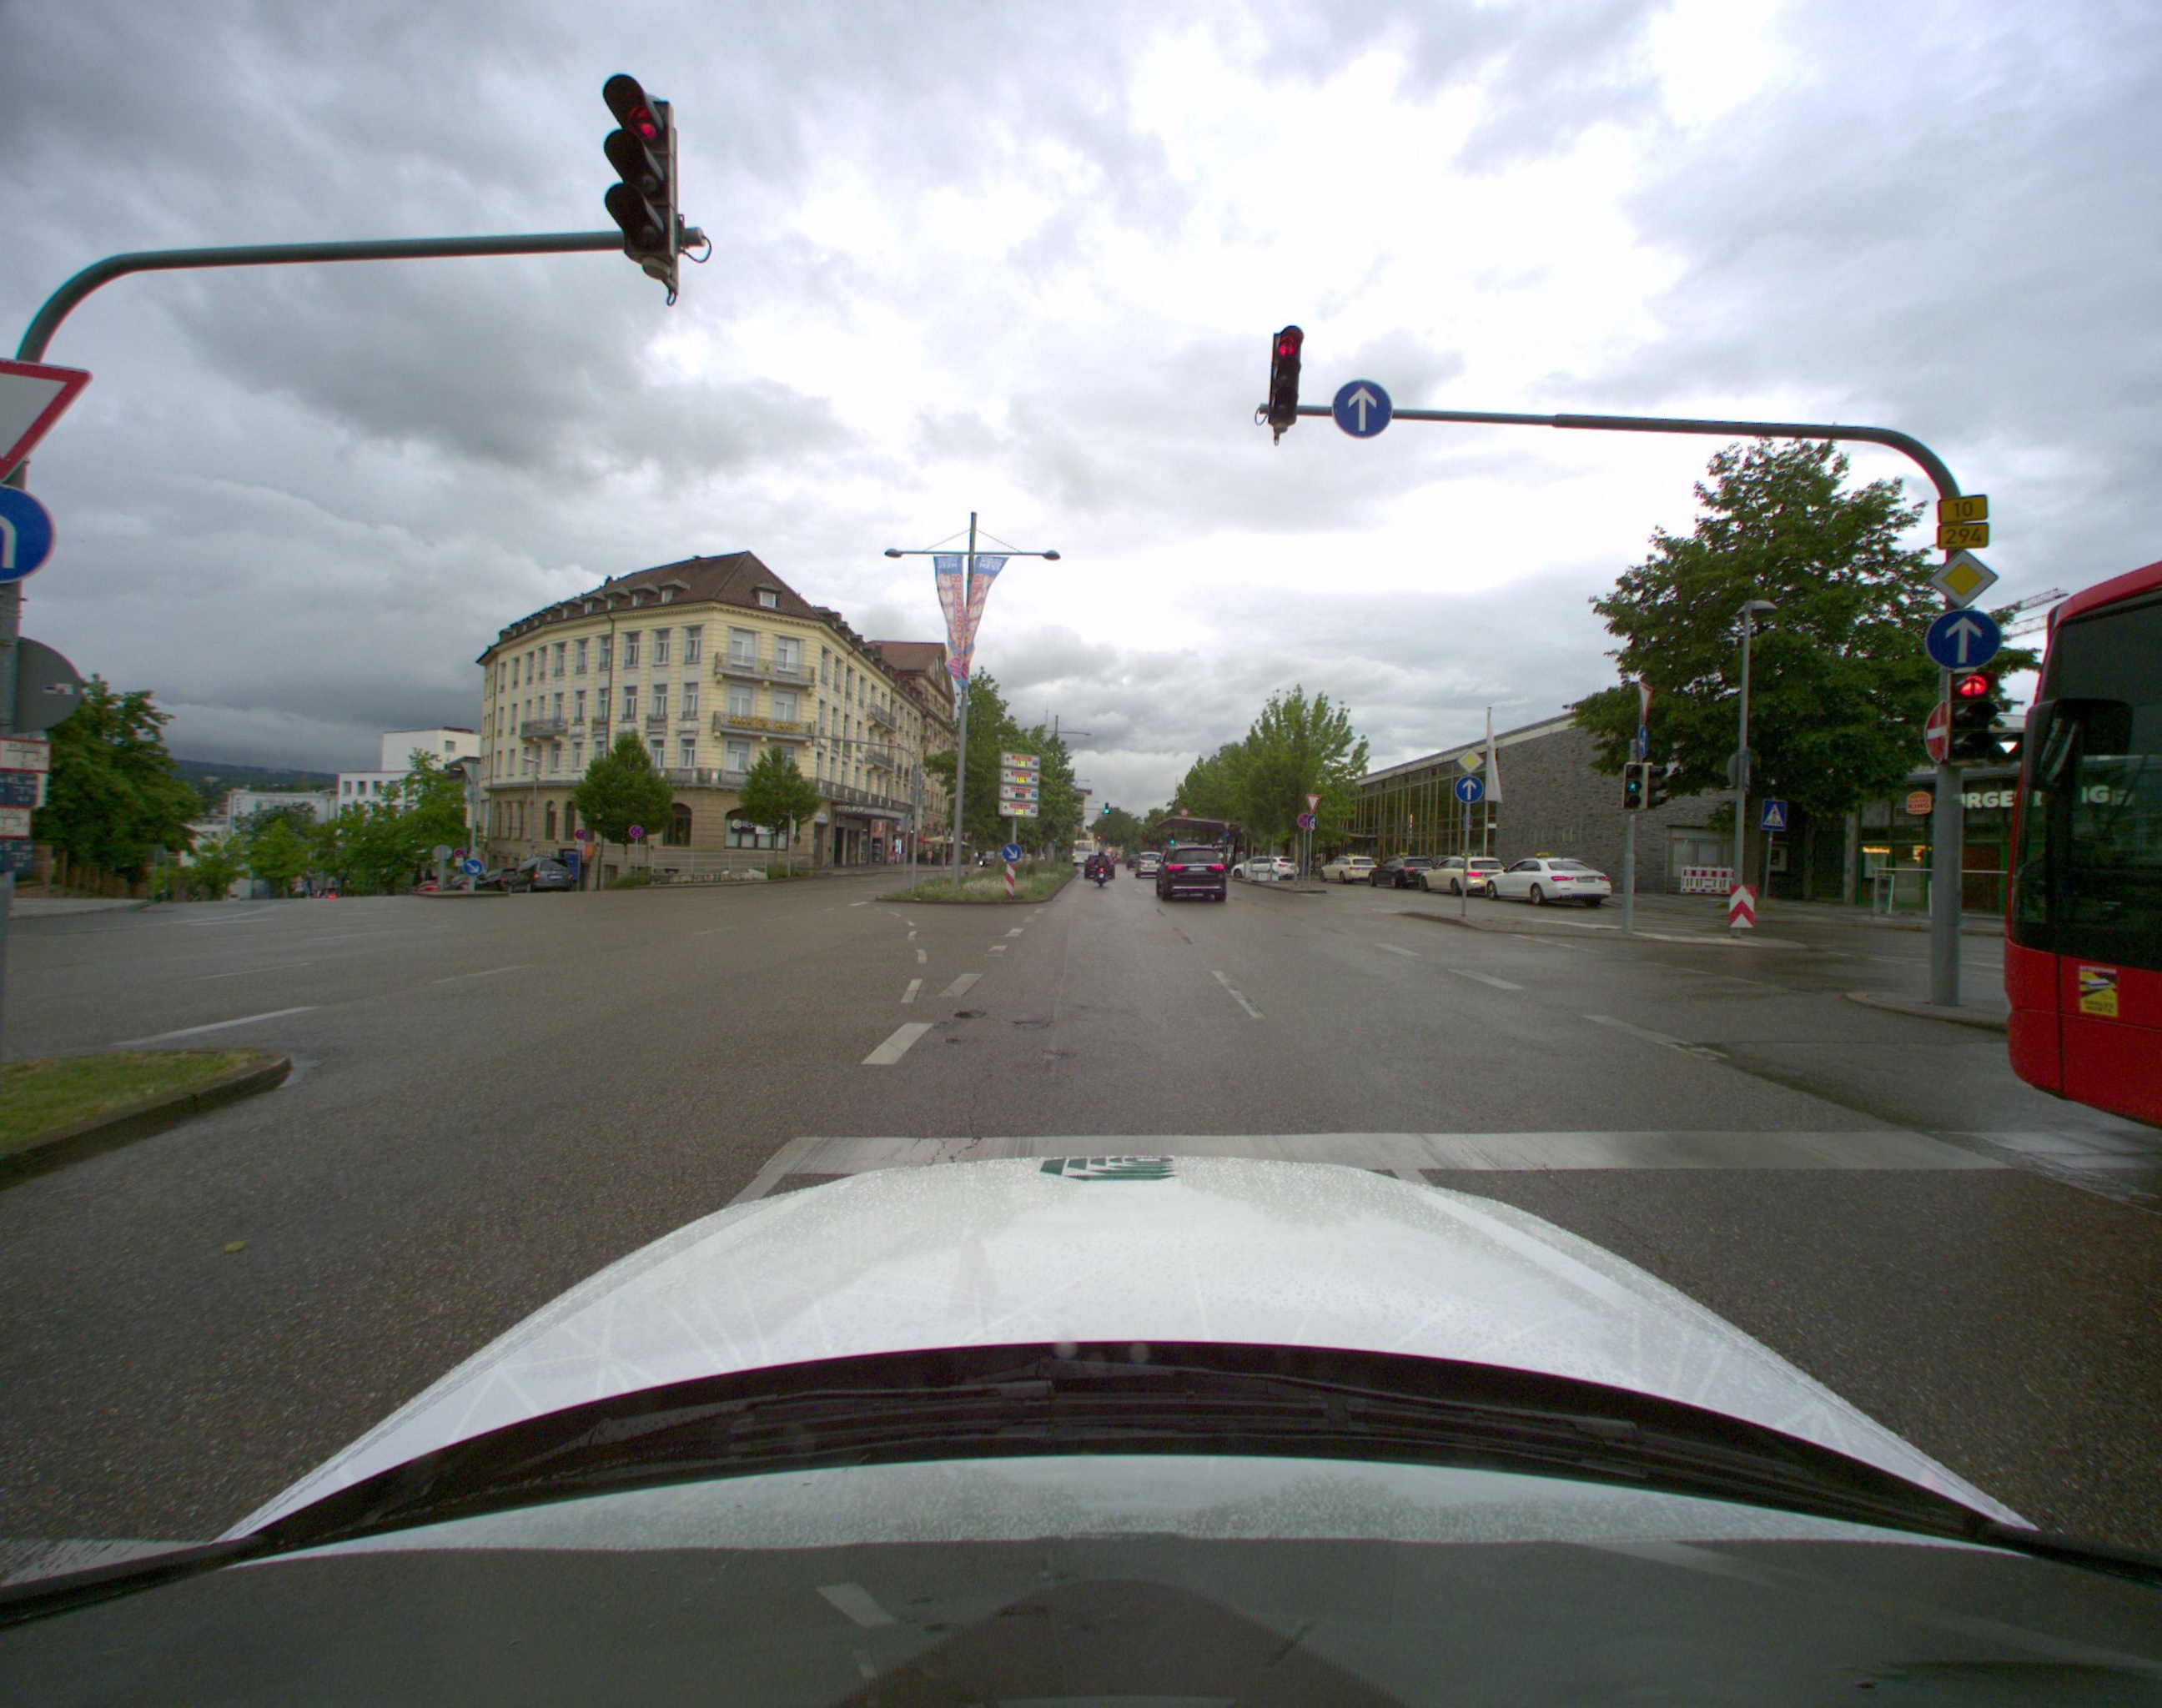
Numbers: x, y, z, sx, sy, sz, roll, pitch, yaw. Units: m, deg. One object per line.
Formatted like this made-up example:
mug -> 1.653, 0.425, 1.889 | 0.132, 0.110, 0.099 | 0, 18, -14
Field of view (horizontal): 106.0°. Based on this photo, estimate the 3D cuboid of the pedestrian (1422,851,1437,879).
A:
pedestrian -> 20.430, 0.628, 47.752 | 0.563, 1.646, 0.715 | 0, 0, -3

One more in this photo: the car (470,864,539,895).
car -> -31.971, 1.381, 45.133 | 3.948, 1.640, 2.013 | -1, -1, 37

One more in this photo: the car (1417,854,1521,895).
car -> 14.783, 0.737, 31.331 | 1.840, 1.452, 4.666 | 0, 0, 0

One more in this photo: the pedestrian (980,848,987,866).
pedestrian -> -10.714, 0.313, 89.792 | 0.756, 2.014, 0.832 | 0, 0, -5

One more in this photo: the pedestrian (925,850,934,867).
pedestrian -> -13.671, 0.371, 73.334 | 0.666, 1.510, 0.513 | 0, 0, -36

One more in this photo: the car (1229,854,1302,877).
car -> 11.499, 0.672, 50.973 | 1.788, 1.385, 4.318 | 0, 0, -39

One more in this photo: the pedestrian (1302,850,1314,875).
pedestrian -> 18.933, 0.701, 67.986 | 0.767, 2.014, 0.828 | 0, 0, 0

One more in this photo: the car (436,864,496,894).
car -> -36.313, 1.455, 48.055 | 3.864, 1.640, 1.805 | 0, 0, 37

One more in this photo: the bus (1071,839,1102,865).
bus -> 0.817, -0.215, 106.975 | 3.746, 3.209, 15.530 | 0, 0, 1

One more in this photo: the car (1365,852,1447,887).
car -> 14.883, 0.680, 37.583 | 1.907, 1.524, 4.741 | 0, 0, 0

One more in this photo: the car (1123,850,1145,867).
car -> 4.967, 0.399, 76.747 | 1.805, 1.581, 3.901 | 0, 0, -1

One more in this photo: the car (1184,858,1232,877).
car -> 12.824, 1.312, 82.157 | 4.348, 1.857, 1.988 | 0, 0, -18

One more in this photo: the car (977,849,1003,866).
car -> -8.649, 0.314, 77.702 | 1.764, 1.530, 4.081 | 0, 0, 2

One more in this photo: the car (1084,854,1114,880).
car -> 1.081, 0.752, 47.863 | 1.702, 1.448, 4.002 | 0, 0, 2

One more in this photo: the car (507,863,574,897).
car -> -27.102, 1.240, 40.792 | 3.949, 1.568, 1.812 | 0, 0, 41

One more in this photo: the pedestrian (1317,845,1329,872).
pedestrian -> 21.784, 0.421, 73.287 | 0.839, 2.411, 0.863 | 0, 0, 3

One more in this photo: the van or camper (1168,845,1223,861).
van or camper -> 14.449, -0.070, 102.814 | 6.787, 2.014, 2.366 | 0, -1, -25

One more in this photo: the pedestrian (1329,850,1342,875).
pedestrian -> 20.023, 0.656, 64.026 | 0.767, 2.014, 0.828 | 0, 0, 0

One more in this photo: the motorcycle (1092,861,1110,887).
motorcycle -> 0.893, 0.849, 35.515 | 0.763, 1.077, 2.176 | 0, 0, 2

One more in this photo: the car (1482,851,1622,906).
car -> 14.643, 0.702, 25.674 | 1.768, 1.589, 4.615 | 0, 0, 0

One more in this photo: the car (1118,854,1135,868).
car -> 5.493, 0.875, 99.204 | 1.805, 1.642, 3.901 | 0, 0, -1

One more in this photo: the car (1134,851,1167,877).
car -> 4.233, 0.596, 50.239 | 1.844, 1.567, 4.002 | 0, 0, 2

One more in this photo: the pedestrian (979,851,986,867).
pedestrian -> -10.859, 0.539, 89.819 | 0.672, 1.701, 0.634 | 0, 0, 1

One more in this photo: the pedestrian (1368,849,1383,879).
pedestrian -> 17.150, 0.592, 47.438 | 0.563, 1.710, 0.715 | 0, 0, -3

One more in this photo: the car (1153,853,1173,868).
car -> 8.562, 0.680, 85.395 | 1.809, 1.530, 4.002 | 0, 0, 2

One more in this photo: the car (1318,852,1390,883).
car -> 14.680, 0.676, 44.113 | 1.990, 1.600, 4.814 | 0, 0, -5

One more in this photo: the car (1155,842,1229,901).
car -> 3.623, 0.539, 27.309 | 1.986, 1.806, 4.691 | 0, 0, 2

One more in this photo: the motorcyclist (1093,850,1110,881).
motorcyclist -> 0.899, 0.506, 35.620 | 0.761, 1.331, 0.867 | 0, 0, 2

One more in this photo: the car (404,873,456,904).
car -> -41.188, 2.169, 51.516 | 3.575, 1.812, 1.788 | 0, 0, 38
